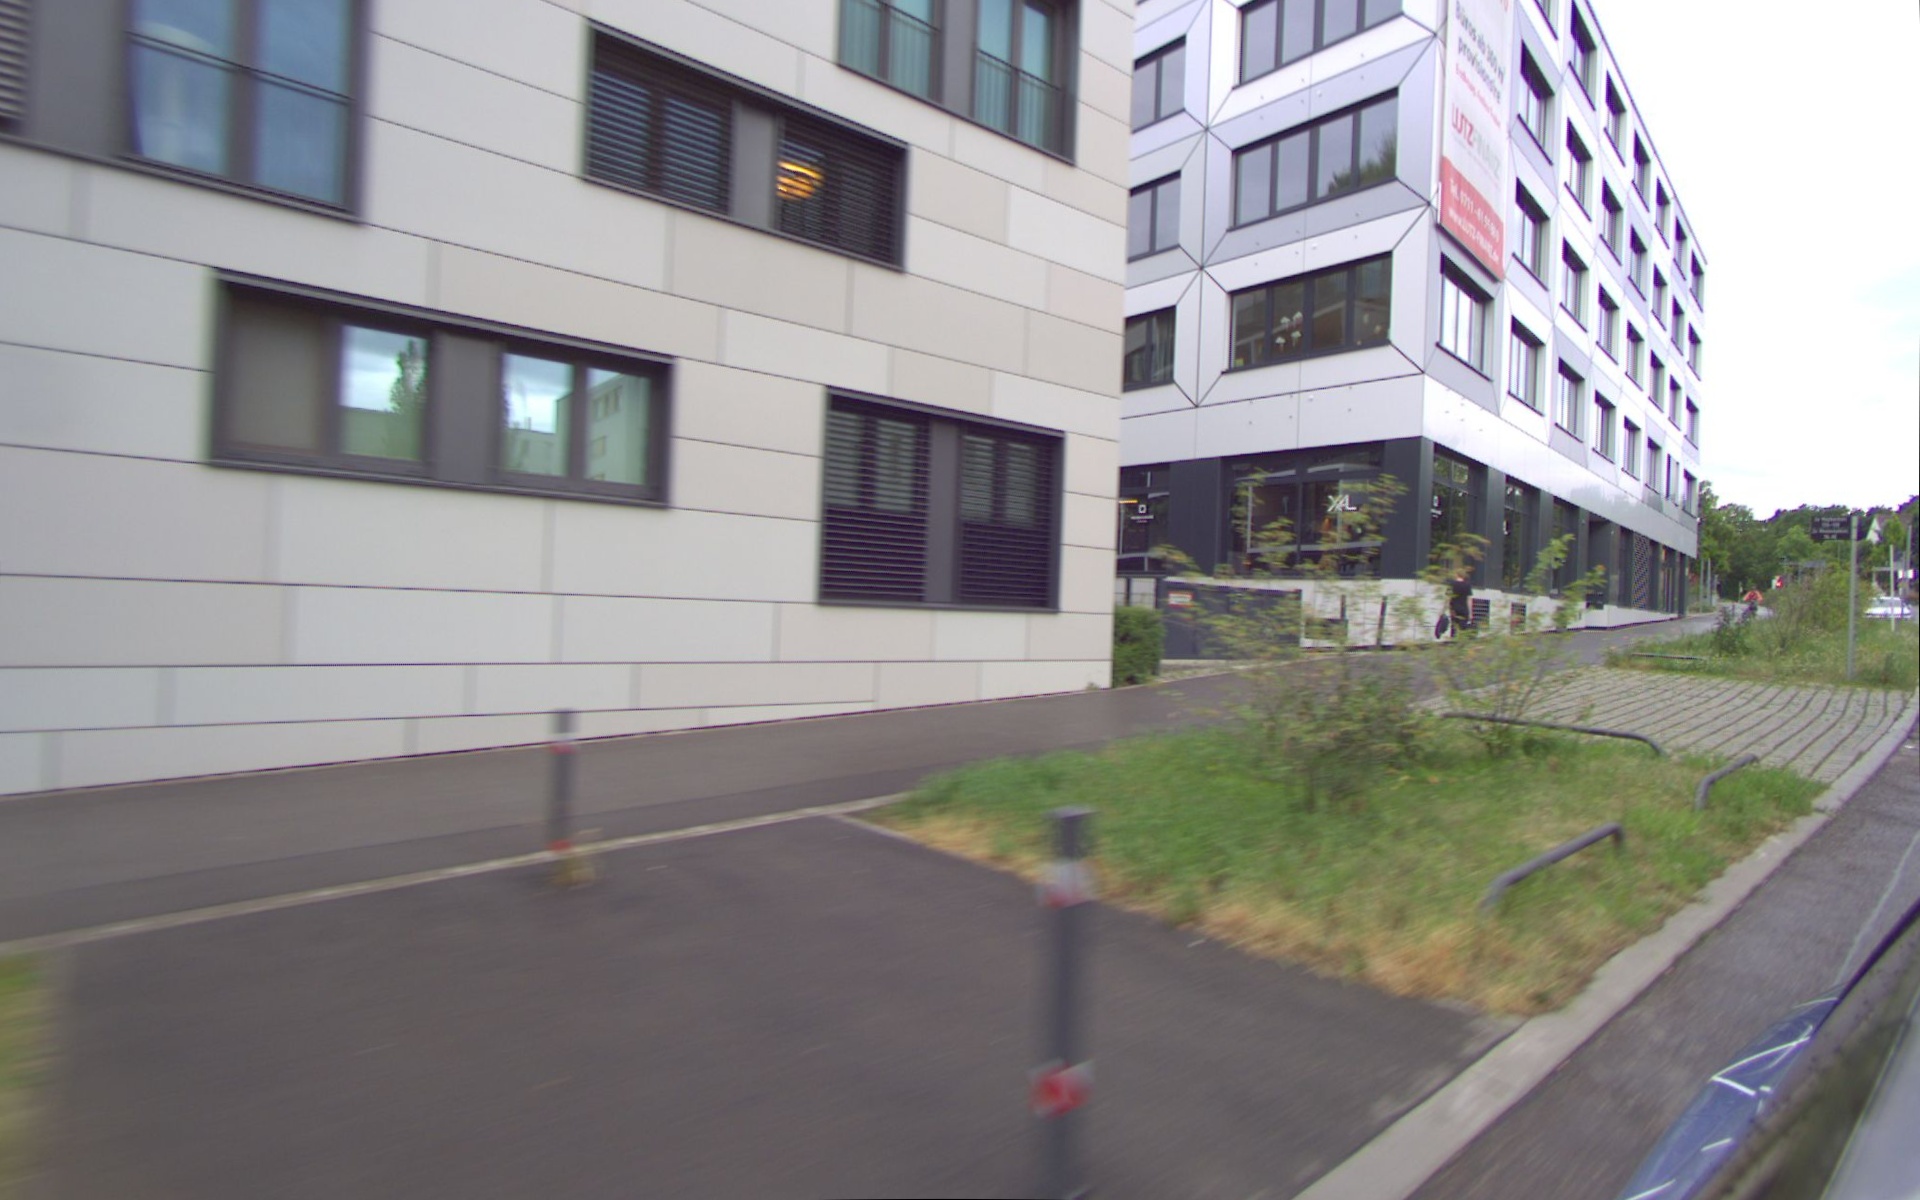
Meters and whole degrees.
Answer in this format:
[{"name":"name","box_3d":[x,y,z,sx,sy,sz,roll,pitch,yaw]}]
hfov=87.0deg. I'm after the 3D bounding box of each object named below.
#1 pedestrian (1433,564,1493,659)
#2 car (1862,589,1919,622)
[{"name":"pedestrian","box_3d":[9.890,0.209,19.897,0.765,1.818,0.824,0,2,-42]},{"name":"car","box_3d":[43.349,0.226,46.967,2.036,1.483,4.438,0,0,40]}]
